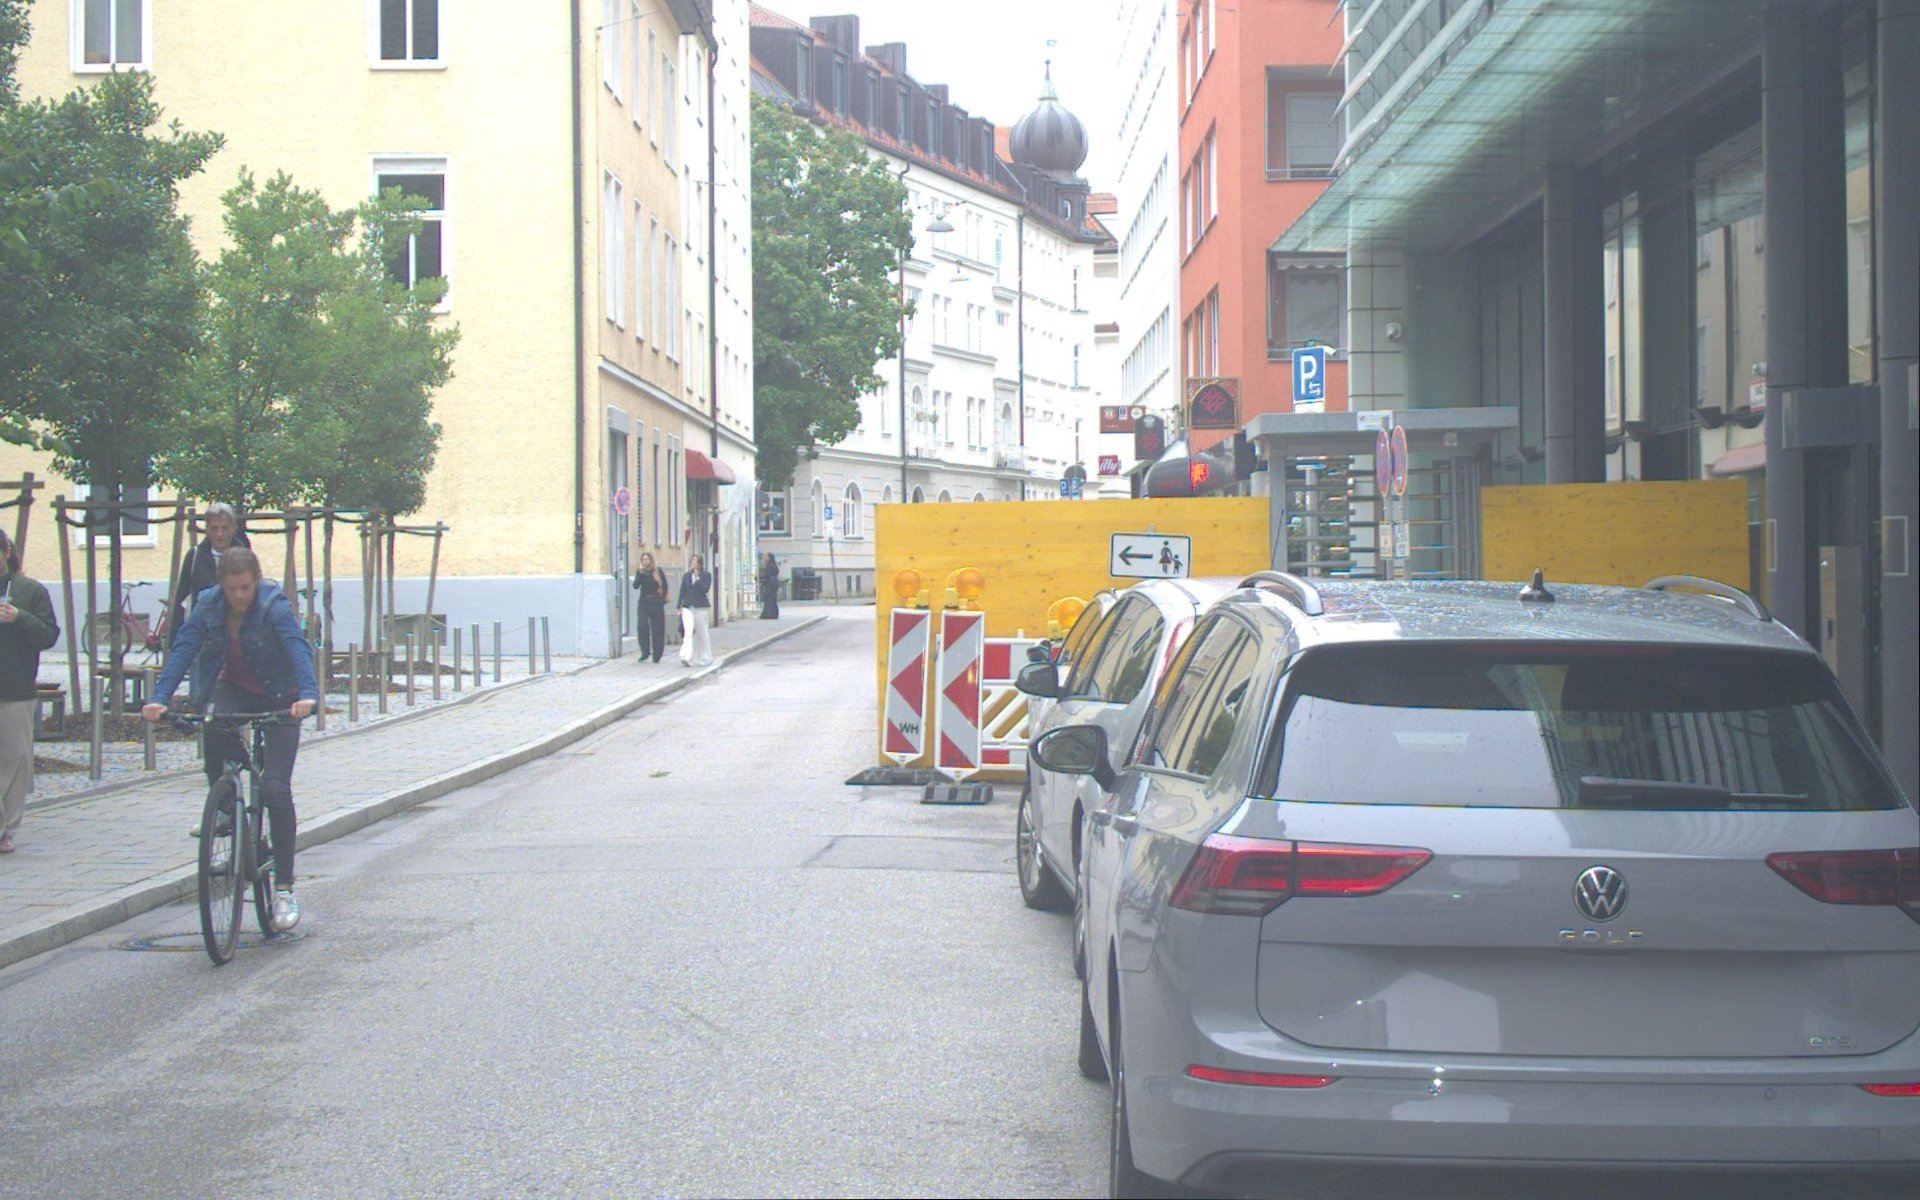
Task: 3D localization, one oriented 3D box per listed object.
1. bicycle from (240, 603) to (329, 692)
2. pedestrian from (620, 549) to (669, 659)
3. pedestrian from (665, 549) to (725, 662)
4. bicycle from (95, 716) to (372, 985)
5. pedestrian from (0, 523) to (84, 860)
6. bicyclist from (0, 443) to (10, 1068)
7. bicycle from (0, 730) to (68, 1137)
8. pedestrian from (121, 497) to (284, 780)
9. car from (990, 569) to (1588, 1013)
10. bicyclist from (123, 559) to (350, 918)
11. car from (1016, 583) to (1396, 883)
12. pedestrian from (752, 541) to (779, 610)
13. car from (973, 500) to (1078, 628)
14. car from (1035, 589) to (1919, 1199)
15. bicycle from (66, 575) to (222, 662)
[{"bbox_3d":[-8.970,0.618,45.721,0.510,1.141,2.051,1,1,8],"label":"bicycle"},{"bbox_3d":[-4.773,0.060,52.121,0.670,1.642,0.761,0,0,-1],"label":"pedestrian"},{"bbox_3d":[-4.006,0.076,51.923,0.839,1.695,0.803,0,0,0],"label":"pedestrian"},{"bbox_3d":[-2.831,0.953,13.575,0.707,0.902,1.809,-1,1,0],"label":"bicycle"},{"bbox_3d":[-4.846,0.449,17.381,0.647,1.671,0.724,0,0,-1],"label":"pedestrian"},{"bbox_3d":[-2.850,0.414,8.639,0.659,1.637,0.895,-1,0,0],"label":"bicyclist"},{"bbox_3d":[-2.855,0.900,8.721,0.661,1.035,2.005,-1,1,0],"label":"bicycle"},{"bbox_3d":[-5.152,0.251,23.439,0.867,1.875,1.135,0,0,-1],"label":"pedestrian"},{"bbox_3d":[1.128,0.631,13.657,1.707,1.462,4.238,1,0,-3],"label":"car"},{"bbox_3d":[-2.842,0.526,13.562,0.707,1.366,0.813,-1,0,0],"label":"bicyclist"},{"bbox_3d":[1.222,0.630,18.817,1.708,1.409,4.510,1,0,0],"label":"car"},{"bbox_3d":[-4.745,-0.598,83.820,0.634,1.669,0.517,0,1,0],"label":"pedestrian"},{"bbox_3d":[1.309,-0.755,70.935,1.993,2.528,4.975,0,1,-1],"label":"car"},{"bbox_3d":[1.110,0.702,8.363,1.708,1.427,4.329,0,0,-1],"label":"car"},{"bbox_3d":[-11.376,0.250,47.919,2.044,1.193,0.570,0,1,7],"label":"bicycle"}]
